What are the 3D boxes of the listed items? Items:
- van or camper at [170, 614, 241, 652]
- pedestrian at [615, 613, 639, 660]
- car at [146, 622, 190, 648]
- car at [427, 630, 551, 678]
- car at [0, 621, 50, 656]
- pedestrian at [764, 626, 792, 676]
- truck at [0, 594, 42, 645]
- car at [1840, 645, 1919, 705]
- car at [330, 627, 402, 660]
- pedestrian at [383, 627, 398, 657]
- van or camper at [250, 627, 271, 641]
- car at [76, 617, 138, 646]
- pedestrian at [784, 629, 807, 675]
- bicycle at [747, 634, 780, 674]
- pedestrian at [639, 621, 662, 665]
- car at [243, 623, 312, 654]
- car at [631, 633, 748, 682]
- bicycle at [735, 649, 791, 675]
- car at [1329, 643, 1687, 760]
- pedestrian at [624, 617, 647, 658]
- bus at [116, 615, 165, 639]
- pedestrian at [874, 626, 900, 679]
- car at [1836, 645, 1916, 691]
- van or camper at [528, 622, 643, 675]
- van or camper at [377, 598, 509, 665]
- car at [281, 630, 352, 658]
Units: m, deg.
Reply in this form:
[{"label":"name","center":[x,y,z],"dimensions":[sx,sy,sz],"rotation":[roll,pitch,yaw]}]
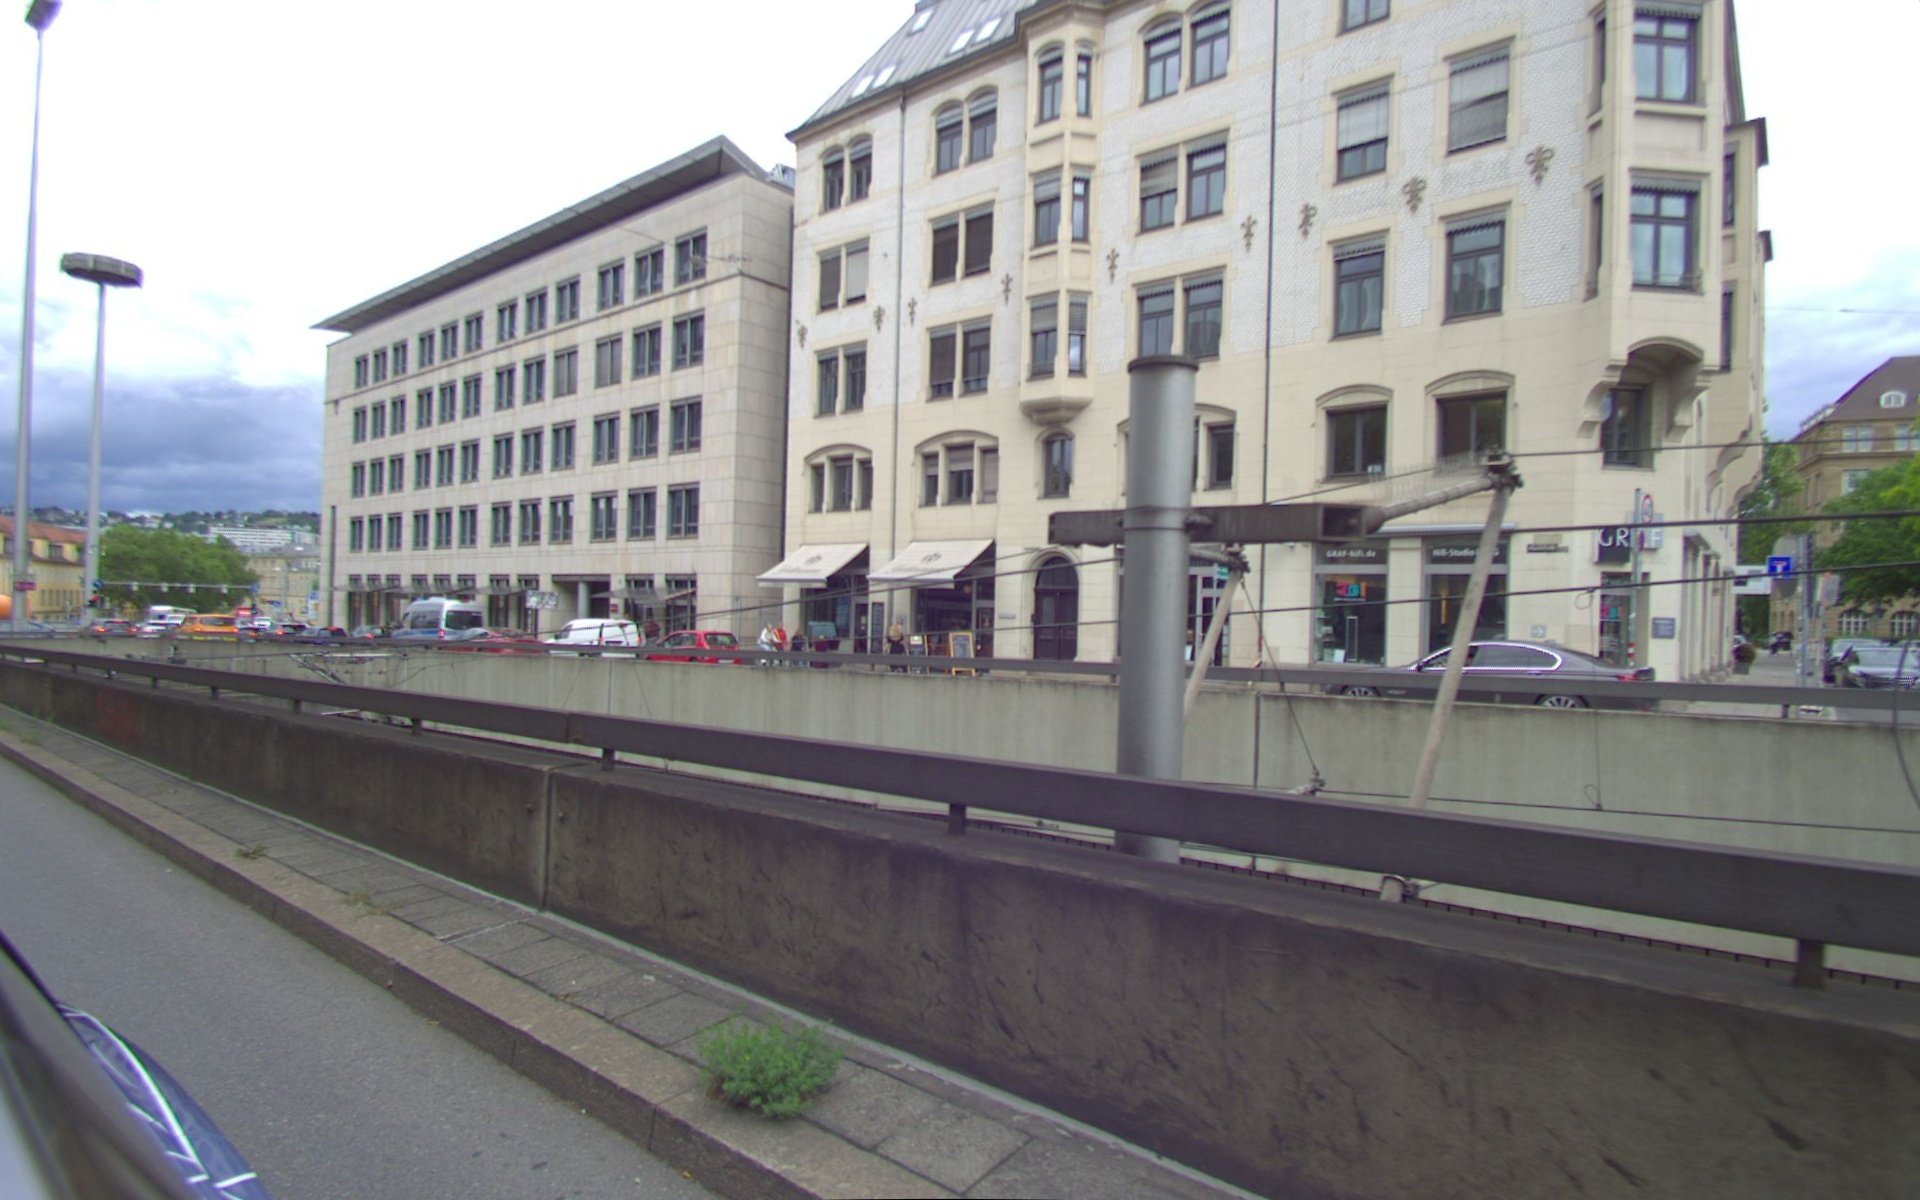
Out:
[{"label":"van or camper","center":[-41.479,1.805,55.590],"dimensions":[5.080,1.936,1.893],"rotation":[-1,-4,40]},{"label":"pedestrian","center":[-13.587,1.476,41.319],"dimensions":[0.679,1.889,0.610],"rotation":[-2,-3,39]},{"label":"car","center":[-50.808,2.230,64.987],"dimensions":[1.710,1.611,4.331],"rotation":[2,-2,-32]},{"label":"car","center":[-16.029,1.789,34.324],"dimensions":[4.883,1.476,1.973],"rotation":[-1,-3,41]},{"label":"car","center":[-41.460,1.616,42.709],"dimensions":[4.495,1.469,1.884],"rotation":[2,-2,-42]},{"label":"pedestrian","center":[-5.913,1.647,32.847],"dimensions":[0.712,1.593,0.577],"rotation":[-1,-2,41]},{"label":"truck","center":[-72.911,1.503,74.997],"dimensions":[2.684,3.643,9.199],"rotation":[3,0,-10]},{"label":"car","center":[24.626,1.924,26.701],"dimensions":[1.848,1.447,3.838],"rotation":[-1,-2,38]},{"label":"car","center":[-29.210,2.122,49.733],"dimensions":[4.027,1.460,1.750],"rotation":[-1,-4,40]},{"label":"pedestrian","center":[-31.245,2.302,55.542],"dimensions":[0.627,1.636,0.494],"rotation":[-1,-2,40]},{"label":"van or camper","center":[-98.915,4.753,143.196],"dimensions":[1.834,1.931,4.728],"rotation":[3,-3,-28]},{"label":"car","center":[-47.623,1.740,56.486],"dimensions":[4.538,1.538,1.899],"rotation":[-1,-2,40]},{"label":"pedestrian","center":[-5.466,1.720,33.587],"dimensions":[0.541,1.486,0.543],"rotation":[-1,-2,41]},{"label":"bicycle","center":[-6.259,1.708,32.184],"dimensions":[0.843,1.270,0.626],"rotation":[-1,-2,37]},{"label":"pedestrian","center":[-12.309,1.707,40.214],"dimensions":[0.679,1.767,0.546],"rotation":[-2,-3,39]},{"label":"car","center":[-38.863,2.178,57.600],"dimensions":[4.679,1.658,1.973],"rotation":[-1,-4,40]},{"label":"car","center":[-8.502,1.769,31.736],"dimensions":[3.579,1.416,1.770],"rotation":[-1,-3,39]},{"label":"bicycle","center":[-6.284,1.953,32.204],"dimensions":[1.955,0.768,0.626],"rotation":[-1,-3,37]},{"label":"car","center":[8.906,1.543,16.762],"dimensions":[4.887,1.598,1.972],"rotation":[-1,-3,43]},{"label":"pedestrian","center":[-12.682,1.447,39.544],"dimensions":[0.679,1.589,0.546],"rotation":[-1,-1,39]},{"label":"bus","center":[-118.310,3.986,146.278],"dimensions":[3.377,3.228,13.101],"rotation":[4,-4,-30]},{"label":"pedestrian","center":[-2.193,1.572,30.438],"dimensions":[0.474,1.549,0.584],"rotation":[3,-4,-45]},{"label":"car","center":[31.605,2.305,34.999],"dimensions":[1.850,1.447,3.835],"rotation":[-1,-2,40]},{"label":"van or camper","center":[-13.400,1.674,36.102],"dimensions":[4.482,1.765,1.849],"rotation":[-1,-2,39]},{"label":"van or camper","center":[-22.906,1.396,44.742],"dimensions":[6.242,2.747,2.971],"rotation":[-1,-3,41]},{"label":"car","center":[-34.146,2.309,53.674],"dimensions":[4.571,1.406,1.972],"rotation":[-1,-2,41]}]
